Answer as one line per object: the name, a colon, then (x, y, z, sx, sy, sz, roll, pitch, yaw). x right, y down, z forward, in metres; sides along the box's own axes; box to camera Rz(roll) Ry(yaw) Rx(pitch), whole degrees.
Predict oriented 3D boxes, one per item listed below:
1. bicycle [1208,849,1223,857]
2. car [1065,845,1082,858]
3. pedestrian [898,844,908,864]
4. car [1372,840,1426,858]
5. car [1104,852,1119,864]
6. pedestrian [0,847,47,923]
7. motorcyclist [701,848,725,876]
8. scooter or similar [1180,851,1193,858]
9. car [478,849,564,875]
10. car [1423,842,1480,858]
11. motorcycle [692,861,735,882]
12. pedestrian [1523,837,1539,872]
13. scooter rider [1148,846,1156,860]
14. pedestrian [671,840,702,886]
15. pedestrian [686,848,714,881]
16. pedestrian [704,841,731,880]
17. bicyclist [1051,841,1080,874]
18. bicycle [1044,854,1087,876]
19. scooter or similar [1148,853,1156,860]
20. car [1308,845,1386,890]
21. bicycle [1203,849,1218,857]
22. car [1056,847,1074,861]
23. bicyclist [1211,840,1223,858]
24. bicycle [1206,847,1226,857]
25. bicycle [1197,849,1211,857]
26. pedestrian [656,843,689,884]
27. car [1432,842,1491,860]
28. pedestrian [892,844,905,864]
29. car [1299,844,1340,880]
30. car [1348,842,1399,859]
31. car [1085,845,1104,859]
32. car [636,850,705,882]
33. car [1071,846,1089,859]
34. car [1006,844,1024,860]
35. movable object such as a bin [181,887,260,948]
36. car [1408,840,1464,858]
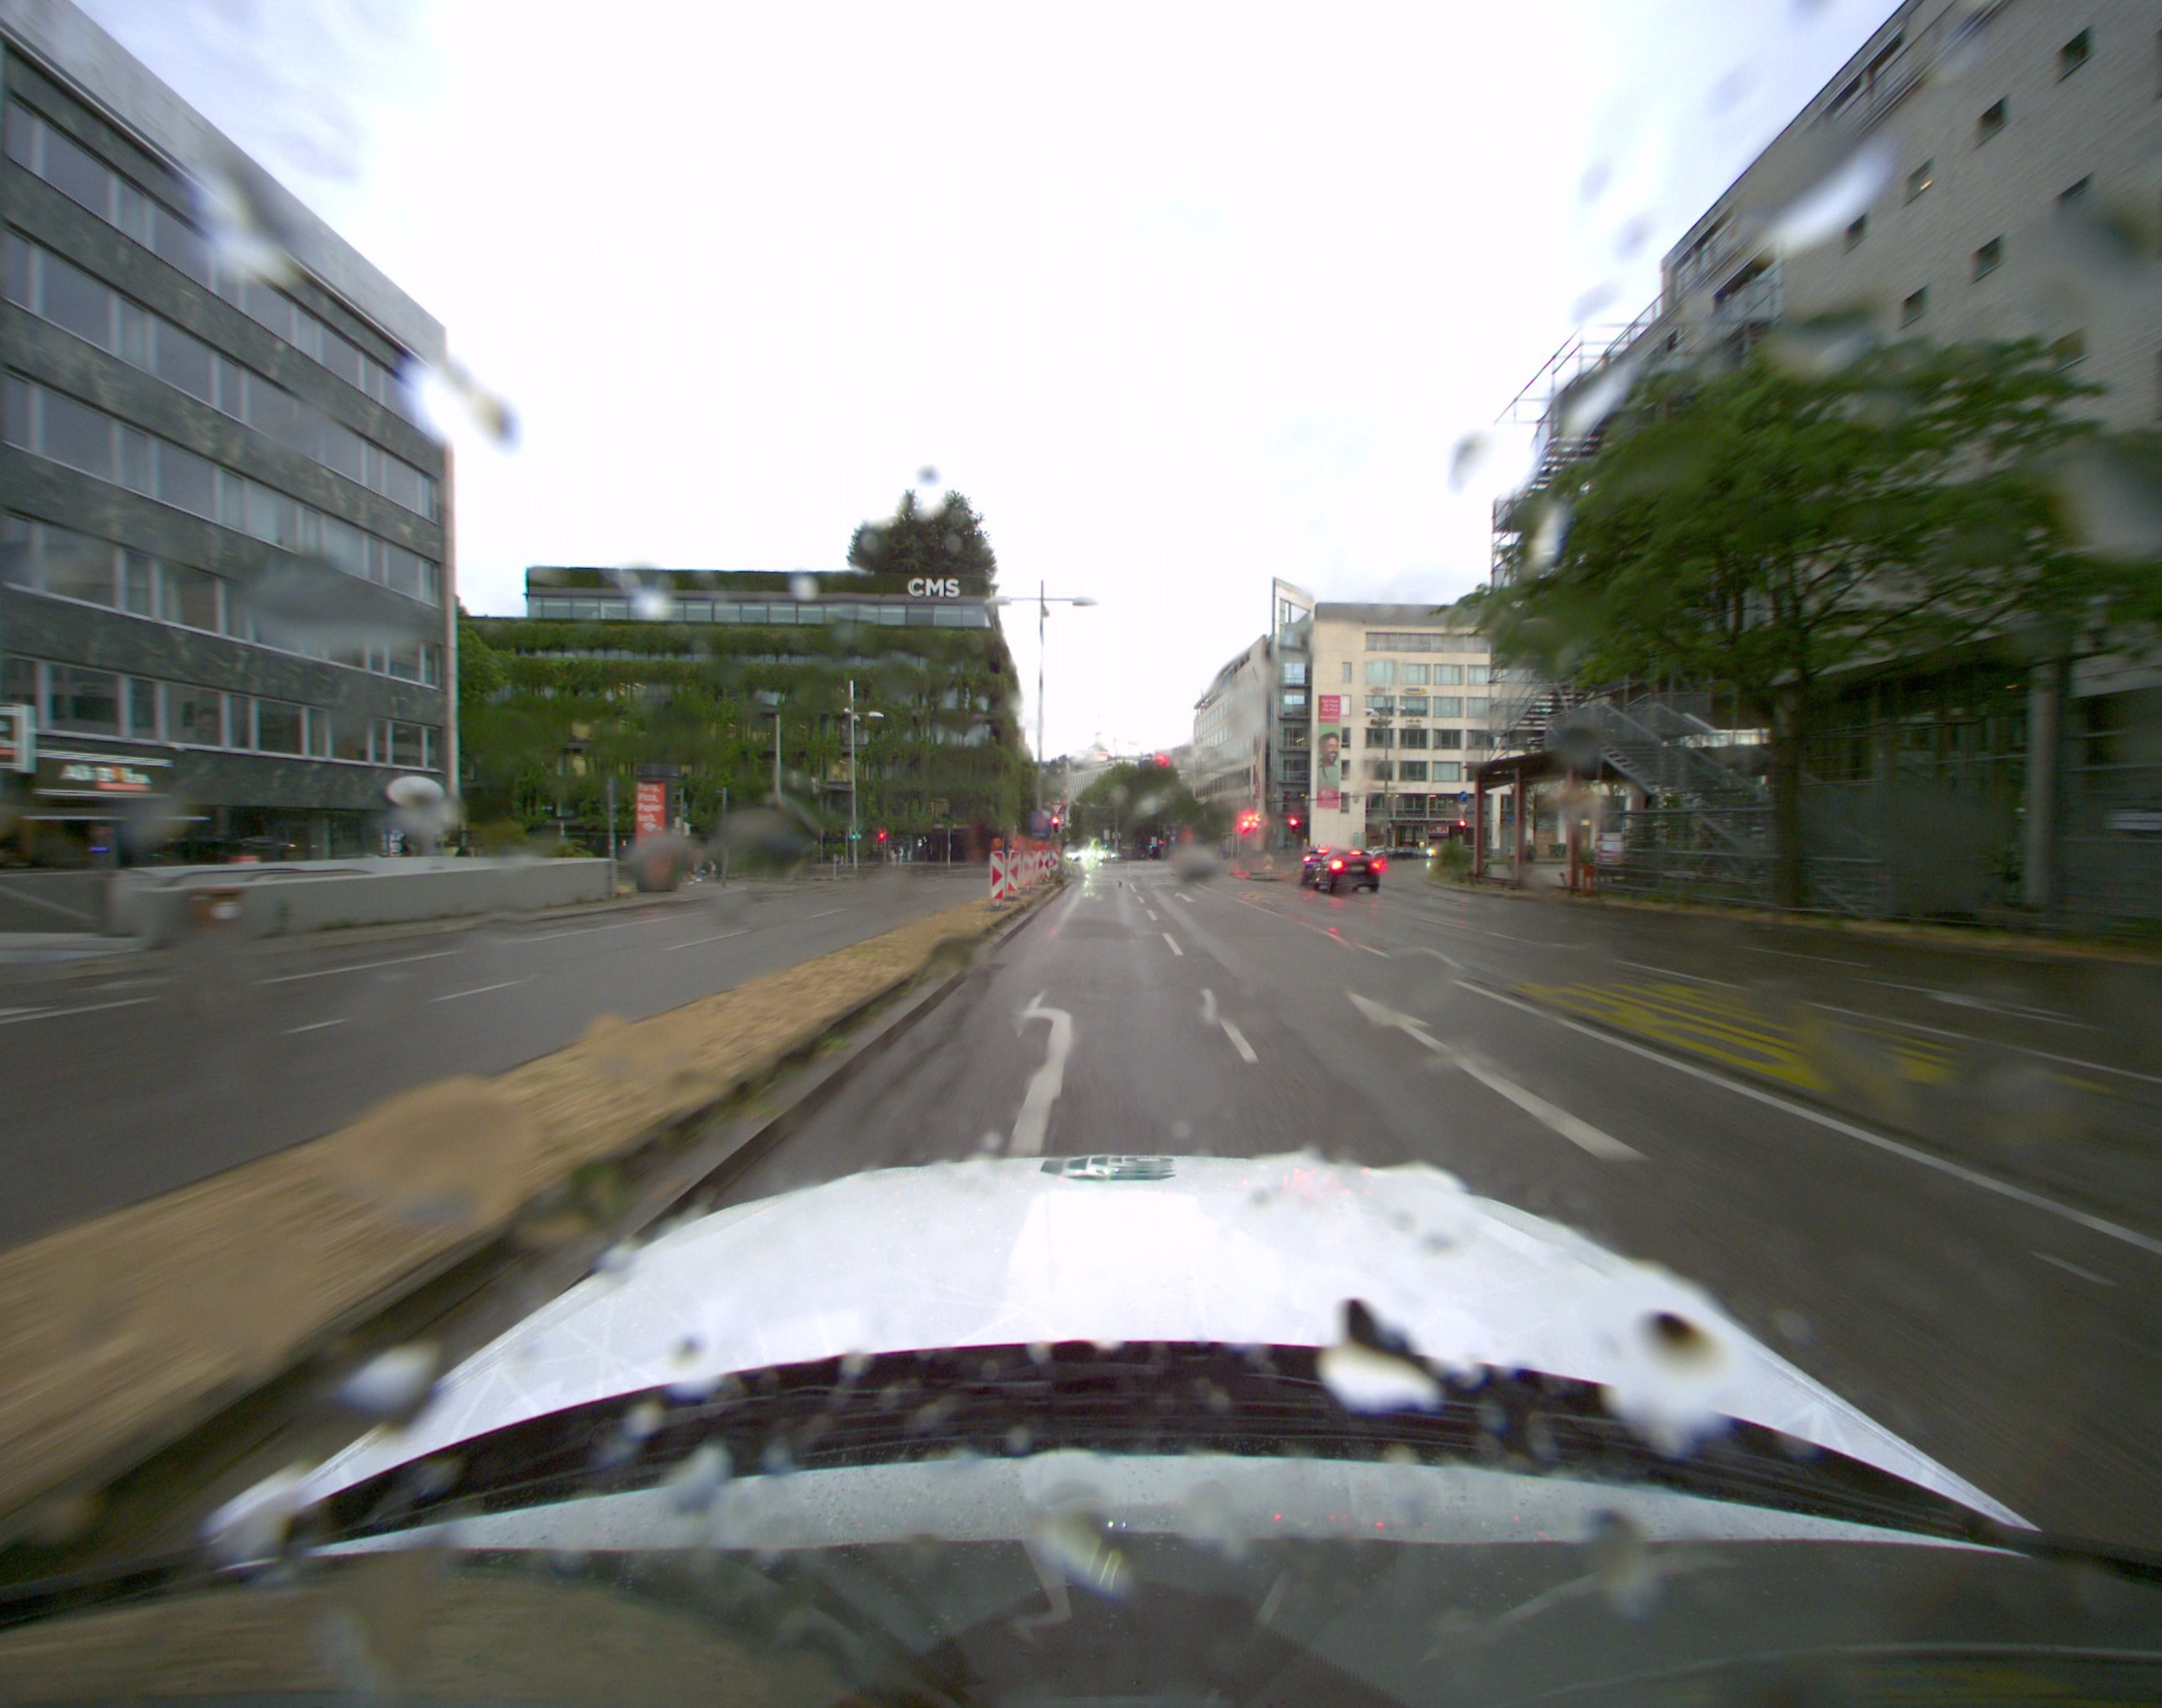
bicycle: (16.322, -0.162, 98.657, 1.778, 0.934, 0.478, 0, 0, 43)
car: (-0.913, -0.296, 97.692, 1.853, 1.448, 4.614, -1, 1, -4)
pedestrian: (-15.848, -0.034, 72.584, 0.744, 1.758, 0.969, -1, 0, -22)
car: (30.588, -0.477, 78.326, 4.450, 1.598, 1.993, -1, 0, -10)
car: (4.455, 0.570, 119.238, 1.988, 1.443, 4.554, -1, 2, -1)
pedestrian: (-27.035, 0.774, 20.680, 0.755, 1.885, 0.591, 0, 0, -5)
motorcyclist: (-22.296, 0.469, 49.400, 1.187, 1.703, 0.844, -1, 0, -15)
scooter or similar: (14.578, 0.104, 112.804, 1.750, 0.878, 0.486, -1, 0, -17)
car: (-34.303, 0.468, 49.955, 3.893, 1.523, 1.865, -1, 0, -11)
car: (32.809, -0.356, 72.115, 4.455, 1.348, 1.715, -1, 0, -13)
motorcycle: (-22.275, 1.058, 49.406, 2.231, 1.210, 0.844, -1, 0, -15)
pedestrian: (23.863, 0.038, 43.169, 0.673, 1.852, 1.062, -1, 0, 27)
scooter rider: (9.510, -0.153, 109.125, 0.763, 1.774, 0.793, -1, 0, -12)
pedestrian: (-16.933, 0.379, 34.940, 0.804, 1.885, 0.865, -4, 0, -5)
pedestrian: (-19.227, 0.534, 41.138, 0.828, 1.585, 0.923, -4, 0, 2)
pedestrian: (-18.300, 0.328, 41.046, 0.781, 1.885, 0.898, -4, 0, 1)
bicyclist: (-0.842, 0.183, 43.333, 1.303, 1.704, 0.839, -1, 0, -32)
bicycle: (-0.840, 0.591, 43.346, 2.160, 1.103, 0.839, -1, 0, -32)
scooter or similar: (9.529, 0.309, 109.049, 0.556, 1.007, 1.816, -1, 0, -12)
car: (9.681, 0.457, 29.946, 1.770, 1.540, 4.152, 0, 0, 4)
bicycle: (16.470, -0.148, 103.731, 1.786, 0.934, 0.476, -1, 0, 4)
car: (-1.813, 0.031, 91.363, 1.852, 1.448, 4.615, -1, 1, -3)
bicyclist: (15.049, -0.548, 90.011, 0.798, 1.975, 1.101, 0, 0, -39)
bicycle: (14.971, -0.235, 90.102, 0.798, 1.117, 2.230, 0, 0, -39)
bicycle: (15.911, -0.148, 105.597, 1.786, 0.934, 0.476, -1, 0, 4)
pedestrian: (-19.724, 0.457, 39.356, 1.019, 1.854, 0.876, -4, 0, -3)
car: (32.386, -0.280, 69.367, 4.452, 1.464, 1.716, -1, 0, -11)
pedestrian: (-16.210, -0.020, 72.301, 0.938, 1.758, 1.163, -1, 0, -22)
car: (10.894, 0.339, 37.142, 1.690, 1.529, 4.447, 0, 0, 17)
car: (29.305, -0.368, 81.733, 4.455, 1.598, 1.991, -1, 0, -13)
car: (1.470, -0.235, 90.372, 1.987, 1.550, 4.554, -1, 1, -1)
car: (-25.895, 0.707, 51.449, 3.450, 1.922, 1.993, -1, 0, -11)
car: (-0.173, -0.223, 110.237, 2.171, 1.823, 4.638, -1, 0, -4)
car: (-8.206, -0.236, 101.857, 1.988, 1.895, 4.461, -1, 0, -2)
movable object such as a bin: (-13.787, 1.003, 13.066, 0.531, 0.897, 0.681, -2, 0, -8)
car: (33.043, -0.501, 75.837, 4.455, 1.598, 1.991, -1, 0, -13)
